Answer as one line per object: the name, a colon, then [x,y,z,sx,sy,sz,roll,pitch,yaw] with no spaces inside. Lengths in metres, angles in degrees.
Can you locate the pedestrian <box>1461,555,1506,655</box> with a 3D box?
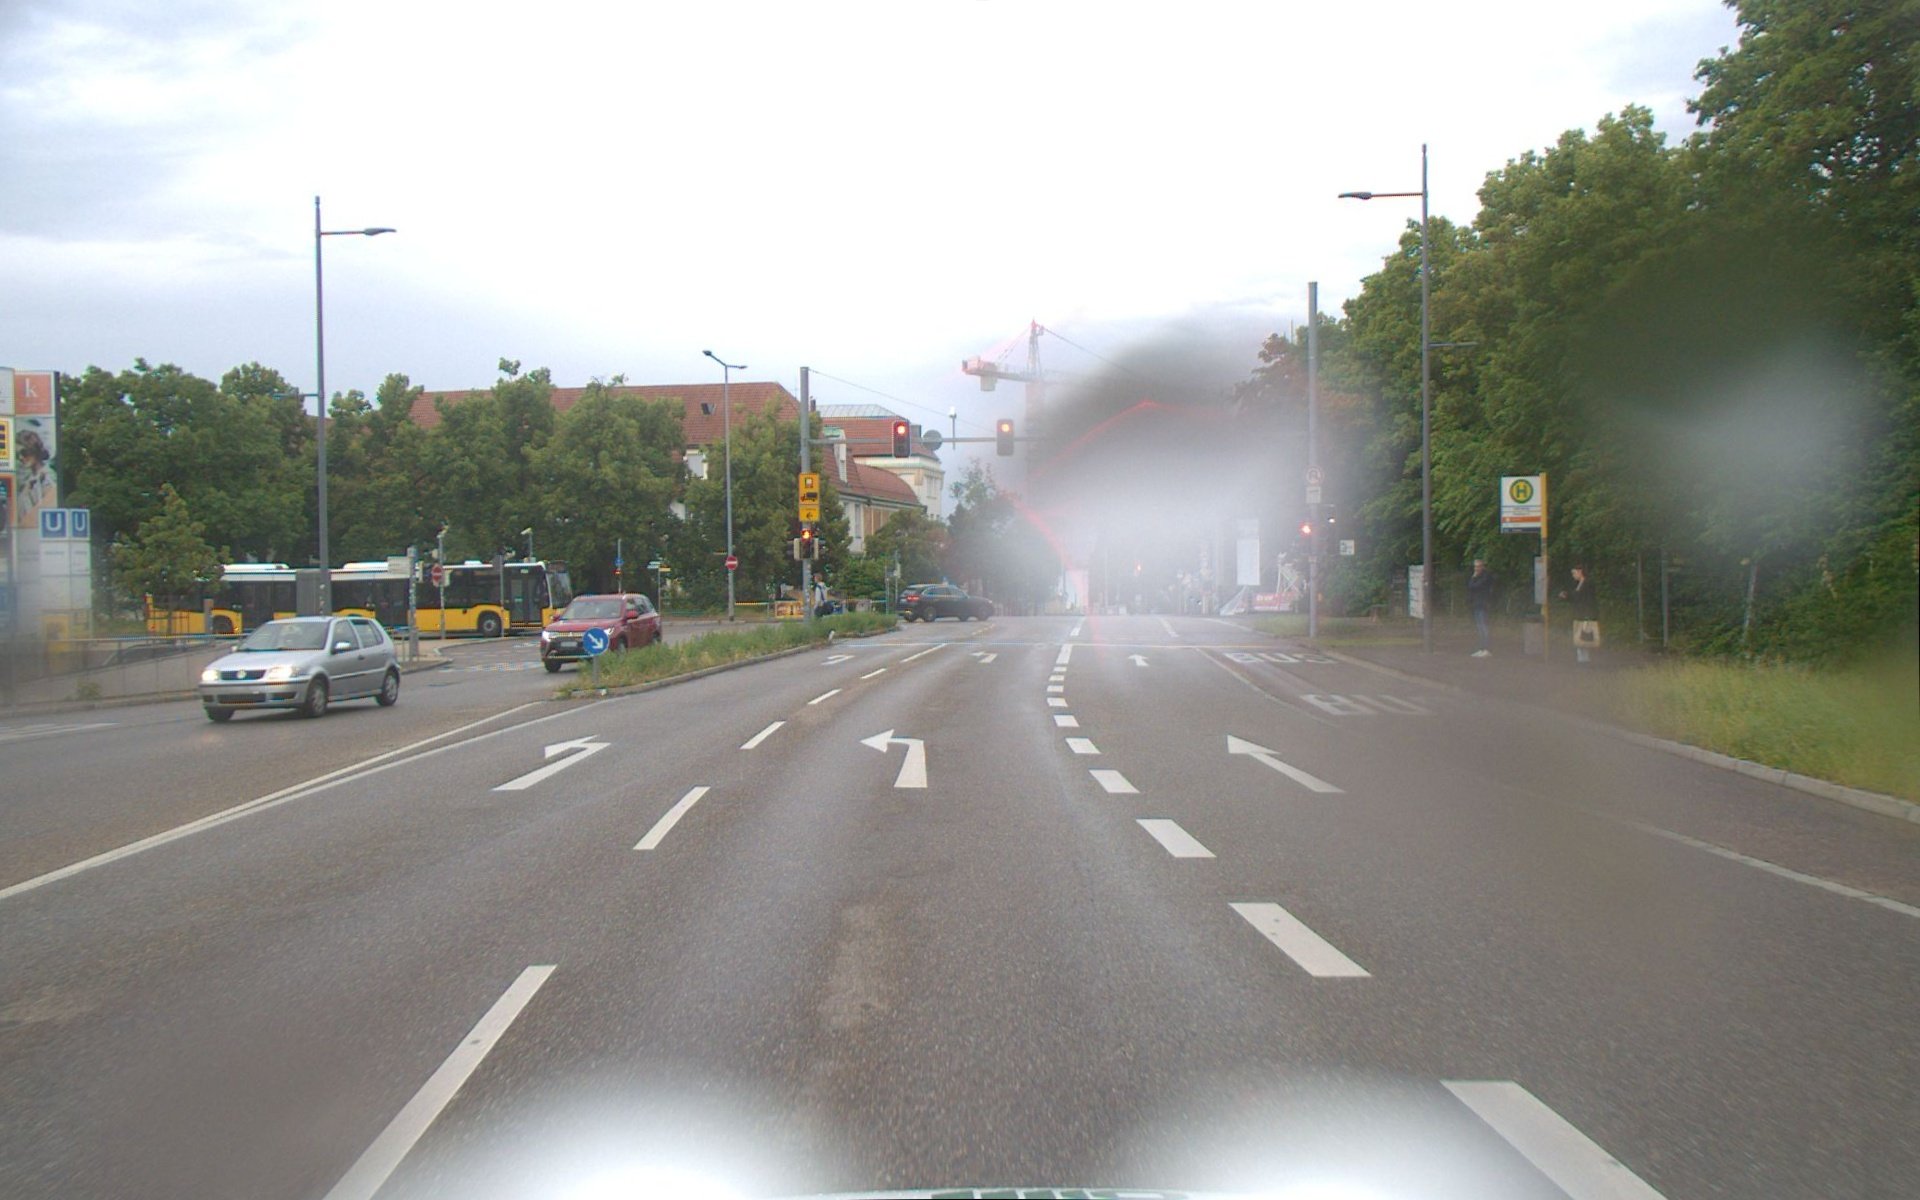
pedestrian: [10.390,0.093,32.821,0.627,1.934,0.718,-1,0,-1]

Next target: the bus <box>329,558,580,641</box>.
bus: [-20.836,-0.025,68.444,9.518,3.157,2.900,-1,0,7]

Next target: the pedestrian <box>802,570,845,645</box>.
pedestrian: [-3.834,0.209,46.465,0.920,2.048,0.848,-3,0,10]

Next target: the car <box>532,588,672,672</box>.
car: [-8.229,0.633,38.498,1.814,1.712,4.740,-3,0,5]

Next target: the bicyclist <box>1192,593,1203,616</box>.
bicyclist: [17.007,0.343,118.310,0.705,1.591,1.143,1,-1,6]

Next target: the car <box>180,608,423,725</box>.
car: [-9.573,0.913,24.388,1.725,1.441,3.881,-3,0,5]

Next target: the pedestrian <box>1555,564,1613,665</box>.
pedestrian: [10.620,0.234,28.175,0.662,1.687,0.793,-1,0,-1]

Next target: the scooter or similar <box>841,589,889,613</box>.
scooter or similar: [-6.122,0.083,106.763,3.023,1.465,0.949,-1,0,3]

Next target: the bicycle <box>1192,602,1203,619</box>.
bicycle: [16.997,0.768,118.327,0.705,1.214,1.757,1,-1,6]

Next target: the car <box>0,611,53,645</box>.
car: [-43.513,1.231,74.226,4.476,1.450,2.001,1,-1,4]

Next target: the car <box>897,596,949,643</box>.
car: [-1.637,0.899,74.967,1.903,2.056,4.553,1,-1,5]

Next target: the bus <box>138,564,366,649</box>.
bus: [-29.673,0.268,69.485,8.367,3.365,2.899,-1,0,5]
